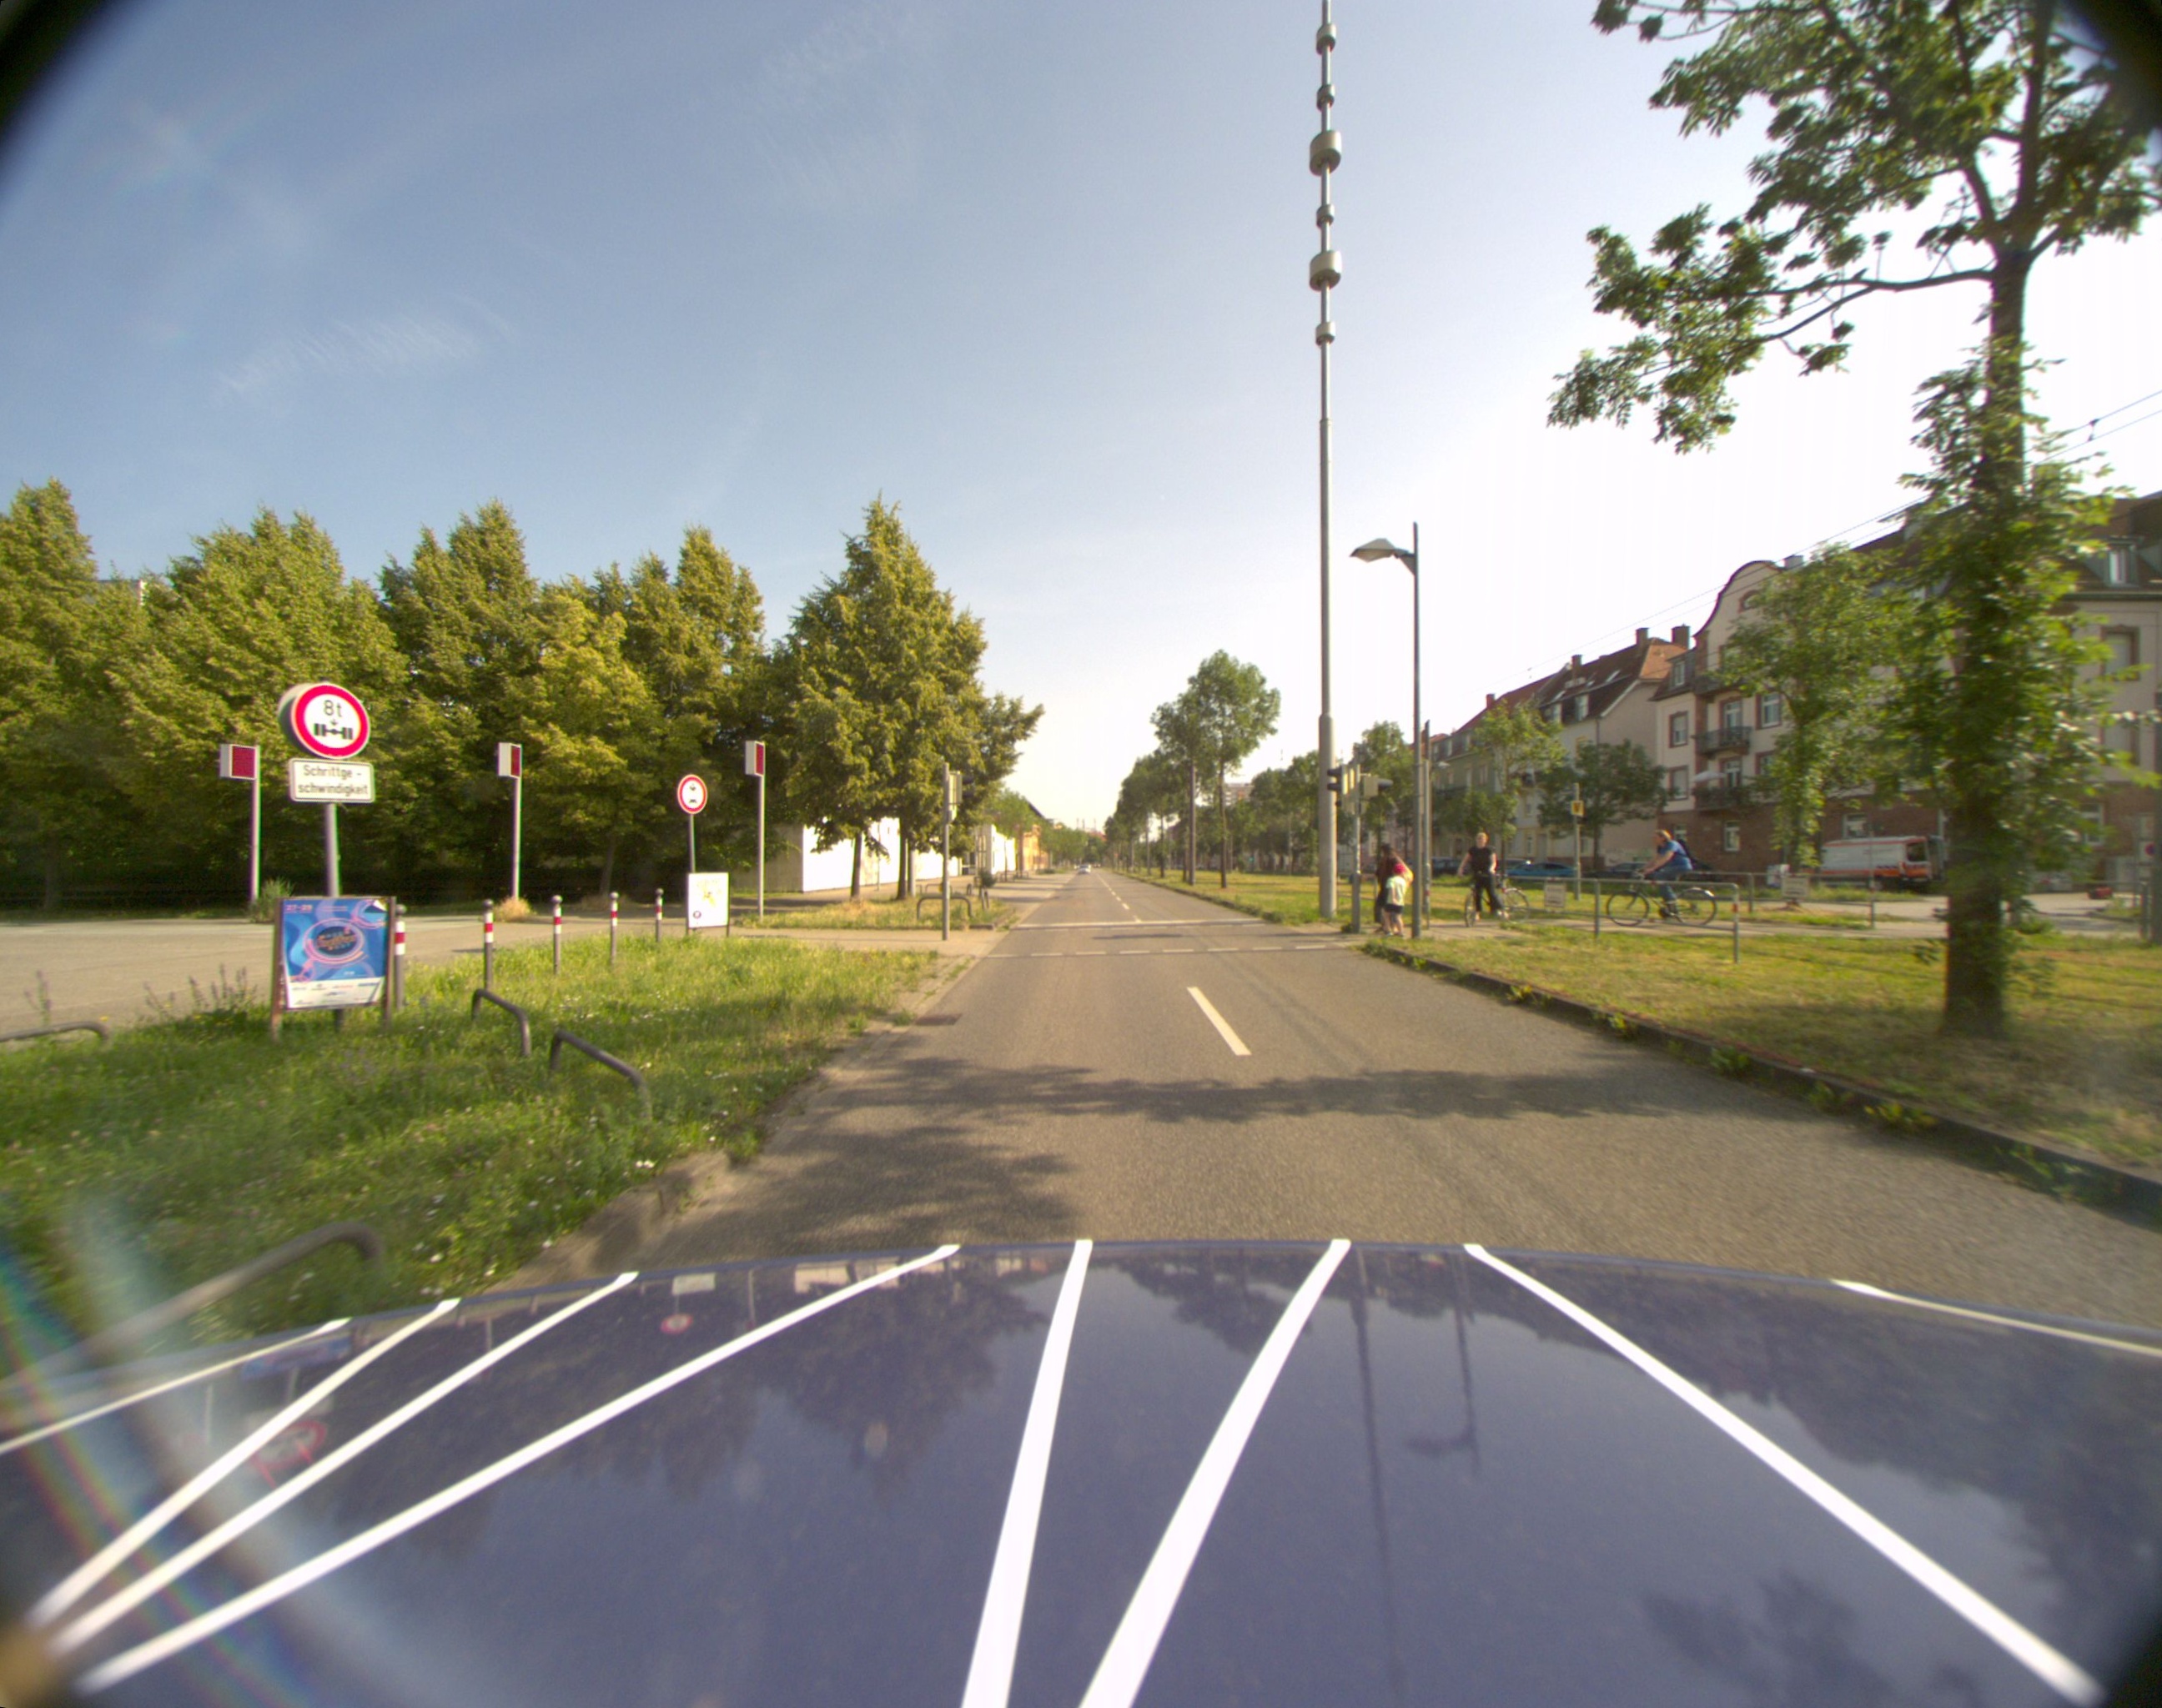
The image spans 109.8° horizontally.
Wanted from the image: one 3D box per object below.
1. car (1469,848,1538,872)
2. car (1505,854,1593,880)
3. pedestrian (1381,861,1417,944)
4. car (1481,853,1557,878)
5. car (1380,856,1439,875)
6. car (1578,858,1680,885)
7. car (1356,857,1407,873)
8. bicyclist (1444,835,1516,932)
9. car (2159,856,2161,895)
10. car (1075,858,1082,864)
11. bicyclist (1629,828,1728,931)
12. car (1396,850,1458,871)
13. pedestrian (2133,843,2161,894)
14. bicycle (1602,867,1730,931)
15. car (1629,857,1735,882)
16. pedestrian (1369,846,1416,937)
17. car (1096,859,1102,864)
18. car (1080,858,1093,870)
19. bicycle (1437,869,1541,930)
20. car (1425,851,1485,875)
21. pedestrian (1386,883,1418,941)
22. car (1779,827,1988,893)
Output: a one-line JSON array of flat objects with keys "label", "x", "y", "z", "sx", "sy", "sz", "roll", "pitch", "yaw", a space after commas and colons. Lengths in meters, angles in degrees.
[{"label": "car", "x": 29.146, "y": 0.408, "z": 52.410, "sx": 4.053, "sy": 1.545, "sz": 1.919, "roll": -2, "pitch": 1, "yaw": 31}, {"label": "car", "x": 28.587, "y": 0.792, "z": 46.487, "sx": 4.503, "sy": 1.432, "sz": 2.004, "roll": -2, "pitch": 1, "yaw": 32}, {"label": "pedestrian", "x": 5.337, "y": 0.799, "z": 12.754, "sx": 0.456, "sy": 1.350, "sz": 0.549, "roll": 0, "pitch": 0, "yaw": 11}, {"label": "car", "x": 28.559, "y": 0.737, "z": 49.593, "sx": 4.181, "sy": 1.494, "sz": 1.945, "roll": -2, "pitch": 1, "yaw": 33}, {"label": "car", "x": 28.584, "y": 0.982, "z": 66.085, "sx": 4.490, "sy": 1.550, "sz": 2.003, "roll": -2, "pitch": 1, "yaw": 29}, {"label": "car", "x": 29.583, "y": 0.942, "z": 41.187, "sx": 4.332, "sy": 1.318, "sz": 2.004, "roll": -2, "pitch": 1, "yaw": 32}, {"label": "car", "x": 30.473, "y": 1.077, "z": 77.042, "sx": 4.490, "sy": 1.482, "sz": 2.003, "roll": -2, "pitch": 1, "yaw": 29}, {"label": "bicyclist", "x": 7.677, "y": 0.544, "z": 14.654, "sx": 0.871, "sy": 1.812, "sz": 0.907, "roll": 0, "pitch": 0, "yaw": -7}, {"label": "car", "x": 42.394, "y": 0.737, "z": 27.406, "sx": 3.996, "sy": 1.455, "sz": 2.000, "roll": -2, "pitch": 1, "yaw": 3}, {"label": "car", "x": -0.673, "y": 1.816, "z": 200.675, "sx": 1.998, "sy": 1.652, "sz": 4.000, "roll": 0, "pitch": 0, "yaw": 1}, {"label": "bicyclist", "x": 11.070, "y": 0.468, "z": 14.122, "sx": 1.185, "sy": 1.840, "sz": 0.911, "roll": -2, "pitch": 1, "yaw": 18}, {"label": "car", "x": 28.653, "y": 0.565, "z": 62.871, "sx": 4.490, "sy": 1.596, "sz": 2.003, "roll": -2, "pitch": 1, "yaw": 29}, {"label": "pedestrian", "x": 37.568, "y": 0.496, "z": 26.570, "sx": 0.669, "sy": 1.738, "sz": 0.633, "roll": -2, "pitch": 1, "yaw": 1}, {"label": "bicycle", "x": 10.909, "y": 0.836, "z": 14.220, "sx": 1.789, "sy": 1.139, "sz": 0.577, "roll": -2, "pitch": 1, "yaw": 18}, {"label": "car", "x": 28.907, "y": 0.756, "z": 36.693, "sx": 3.840, "sy": 1.121, "sz": 1.772, "roll": -2, "pitch": 1, "yaw": 32}, {"label": "pedestrian", "x": 5.656, "y": 0.667, "z": 13.819, "sx": 0.611, "sy": 1.594, "sz": 0.735, "roll": 0, "pitch": 0, "yaw": 5}, {"label": "car", "x": 5.774, "y": 2.301, "z": 242.522, "sx": 1.998, "sy": 1.652, "sz": 4.000, "roll": 0, "pitch": 0, "yaw": 1}, {"label": "car", "x": 0.837, "y": 1.506, "z": 116.039, "sx": 1.998, "sy": 1.652, "sz": 4.000, "roll": 0, "pitch": 0, "yaw": 1}, {"label": "bicycle", "x": 7.913, "y": 0.865, "z": 14.753, "sx": 1.752, "sy": 1.139, "sz": 0.576, "roll": 0, "pitch": 0, "yaw": -5}, {"label": "car", "x": 28.651, "y": 0.674, "z": 58.189, "sx": 3.989, "sy": 1.696, "sz": 1.878, "roll": -2, "pitch": 1, "yaw": 30}, {"label": "pedestrian", "x": 5.581, "y": 0.998, "z": 13.232, "sx": 0.412, "sy": 0.975, "sz": 0.421, "roll": 0, "pitch": 0, "yaw": 6}, {"label": "car", "x": 35.247, "y": 0.226, "z": 33.790, "sx": 2.354, "sy": 2.549, "sz": 6.507, "roll": -2, "pitch": 0, "yaw": -1}]
